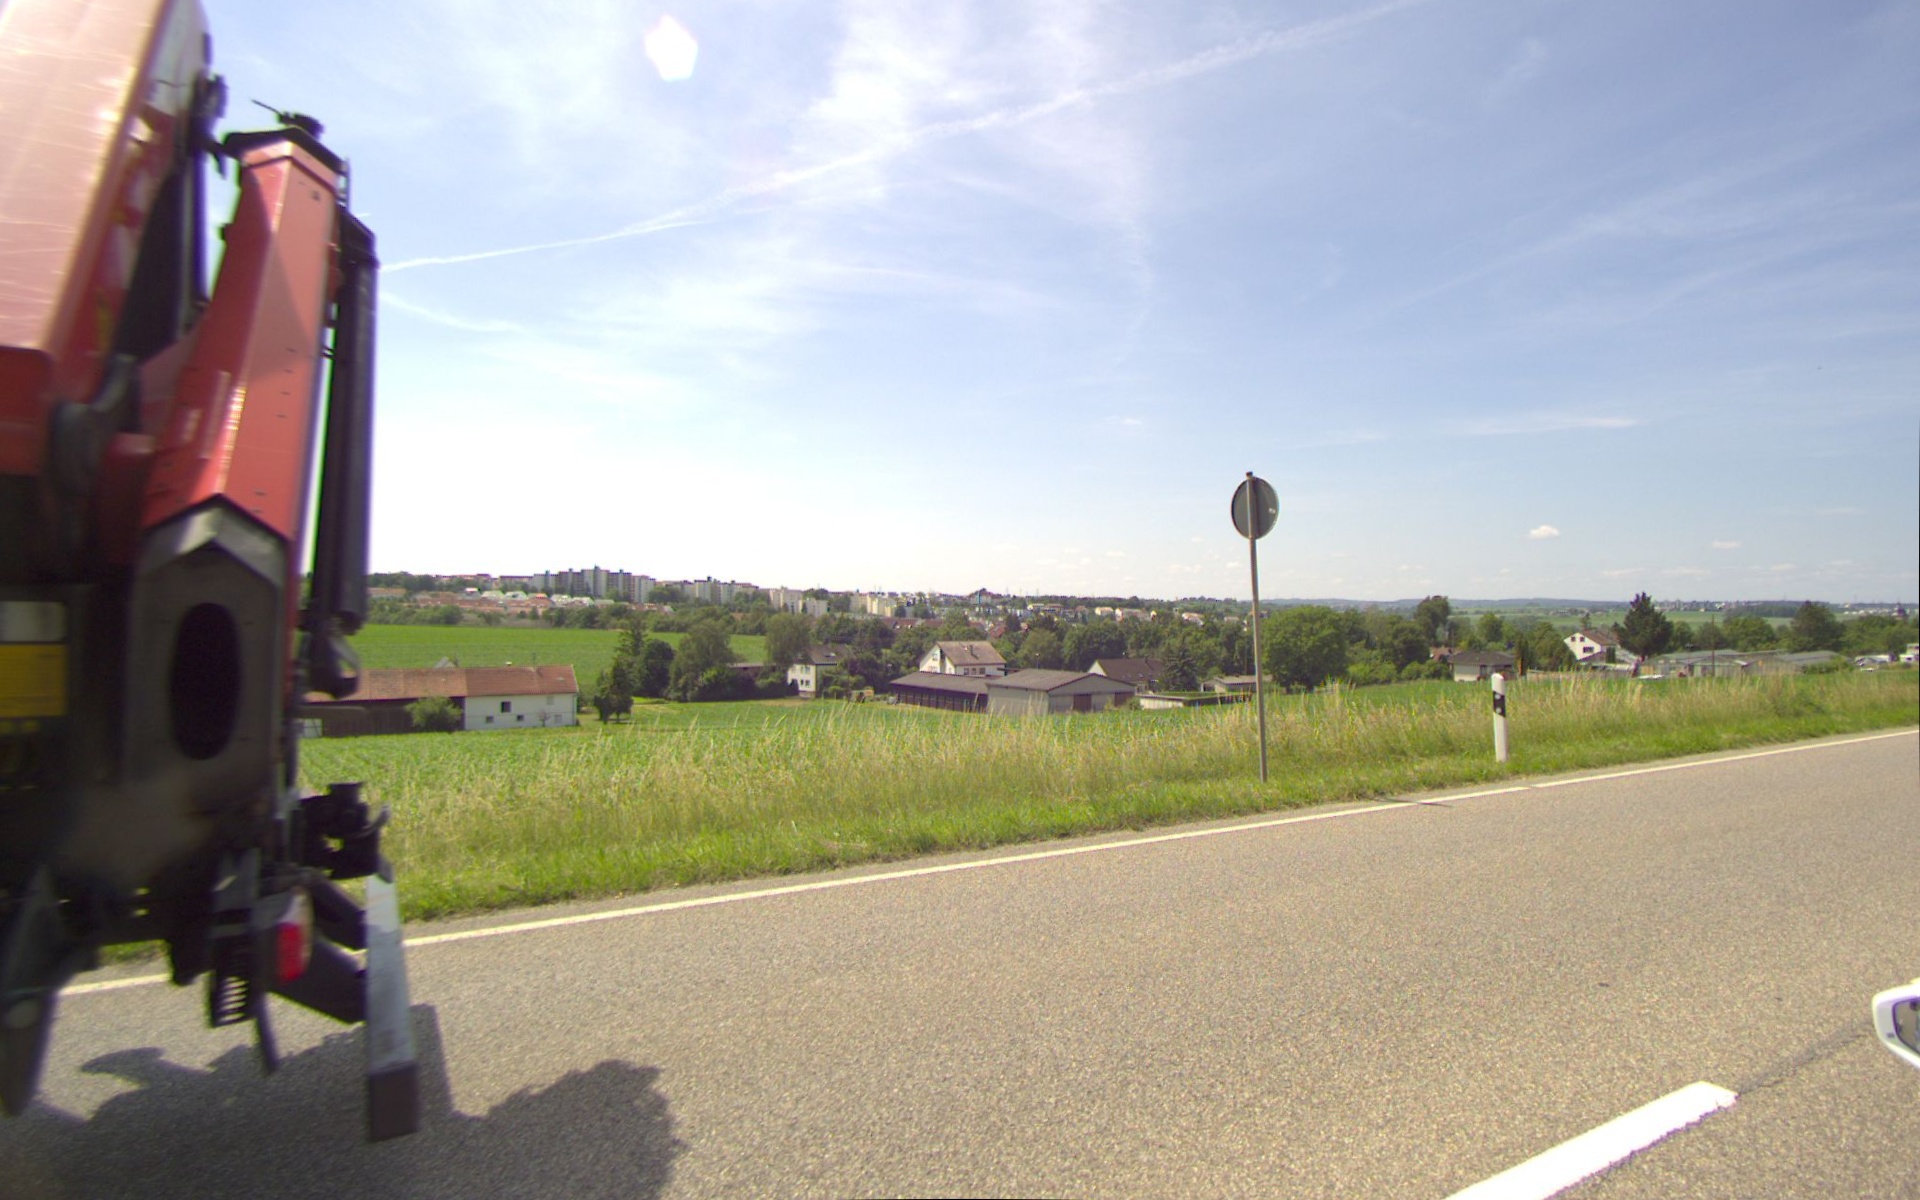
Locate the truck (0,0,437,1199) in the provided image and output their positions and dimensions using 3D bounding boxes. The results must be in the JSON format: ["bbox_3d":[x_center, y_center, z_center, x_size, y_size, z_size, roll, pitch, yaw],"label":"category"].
[{"bbox_3d":[-6.404,-0.398,0.317,10.939,3.623,2.743,1,-3,-31],"label":"truck"}]
